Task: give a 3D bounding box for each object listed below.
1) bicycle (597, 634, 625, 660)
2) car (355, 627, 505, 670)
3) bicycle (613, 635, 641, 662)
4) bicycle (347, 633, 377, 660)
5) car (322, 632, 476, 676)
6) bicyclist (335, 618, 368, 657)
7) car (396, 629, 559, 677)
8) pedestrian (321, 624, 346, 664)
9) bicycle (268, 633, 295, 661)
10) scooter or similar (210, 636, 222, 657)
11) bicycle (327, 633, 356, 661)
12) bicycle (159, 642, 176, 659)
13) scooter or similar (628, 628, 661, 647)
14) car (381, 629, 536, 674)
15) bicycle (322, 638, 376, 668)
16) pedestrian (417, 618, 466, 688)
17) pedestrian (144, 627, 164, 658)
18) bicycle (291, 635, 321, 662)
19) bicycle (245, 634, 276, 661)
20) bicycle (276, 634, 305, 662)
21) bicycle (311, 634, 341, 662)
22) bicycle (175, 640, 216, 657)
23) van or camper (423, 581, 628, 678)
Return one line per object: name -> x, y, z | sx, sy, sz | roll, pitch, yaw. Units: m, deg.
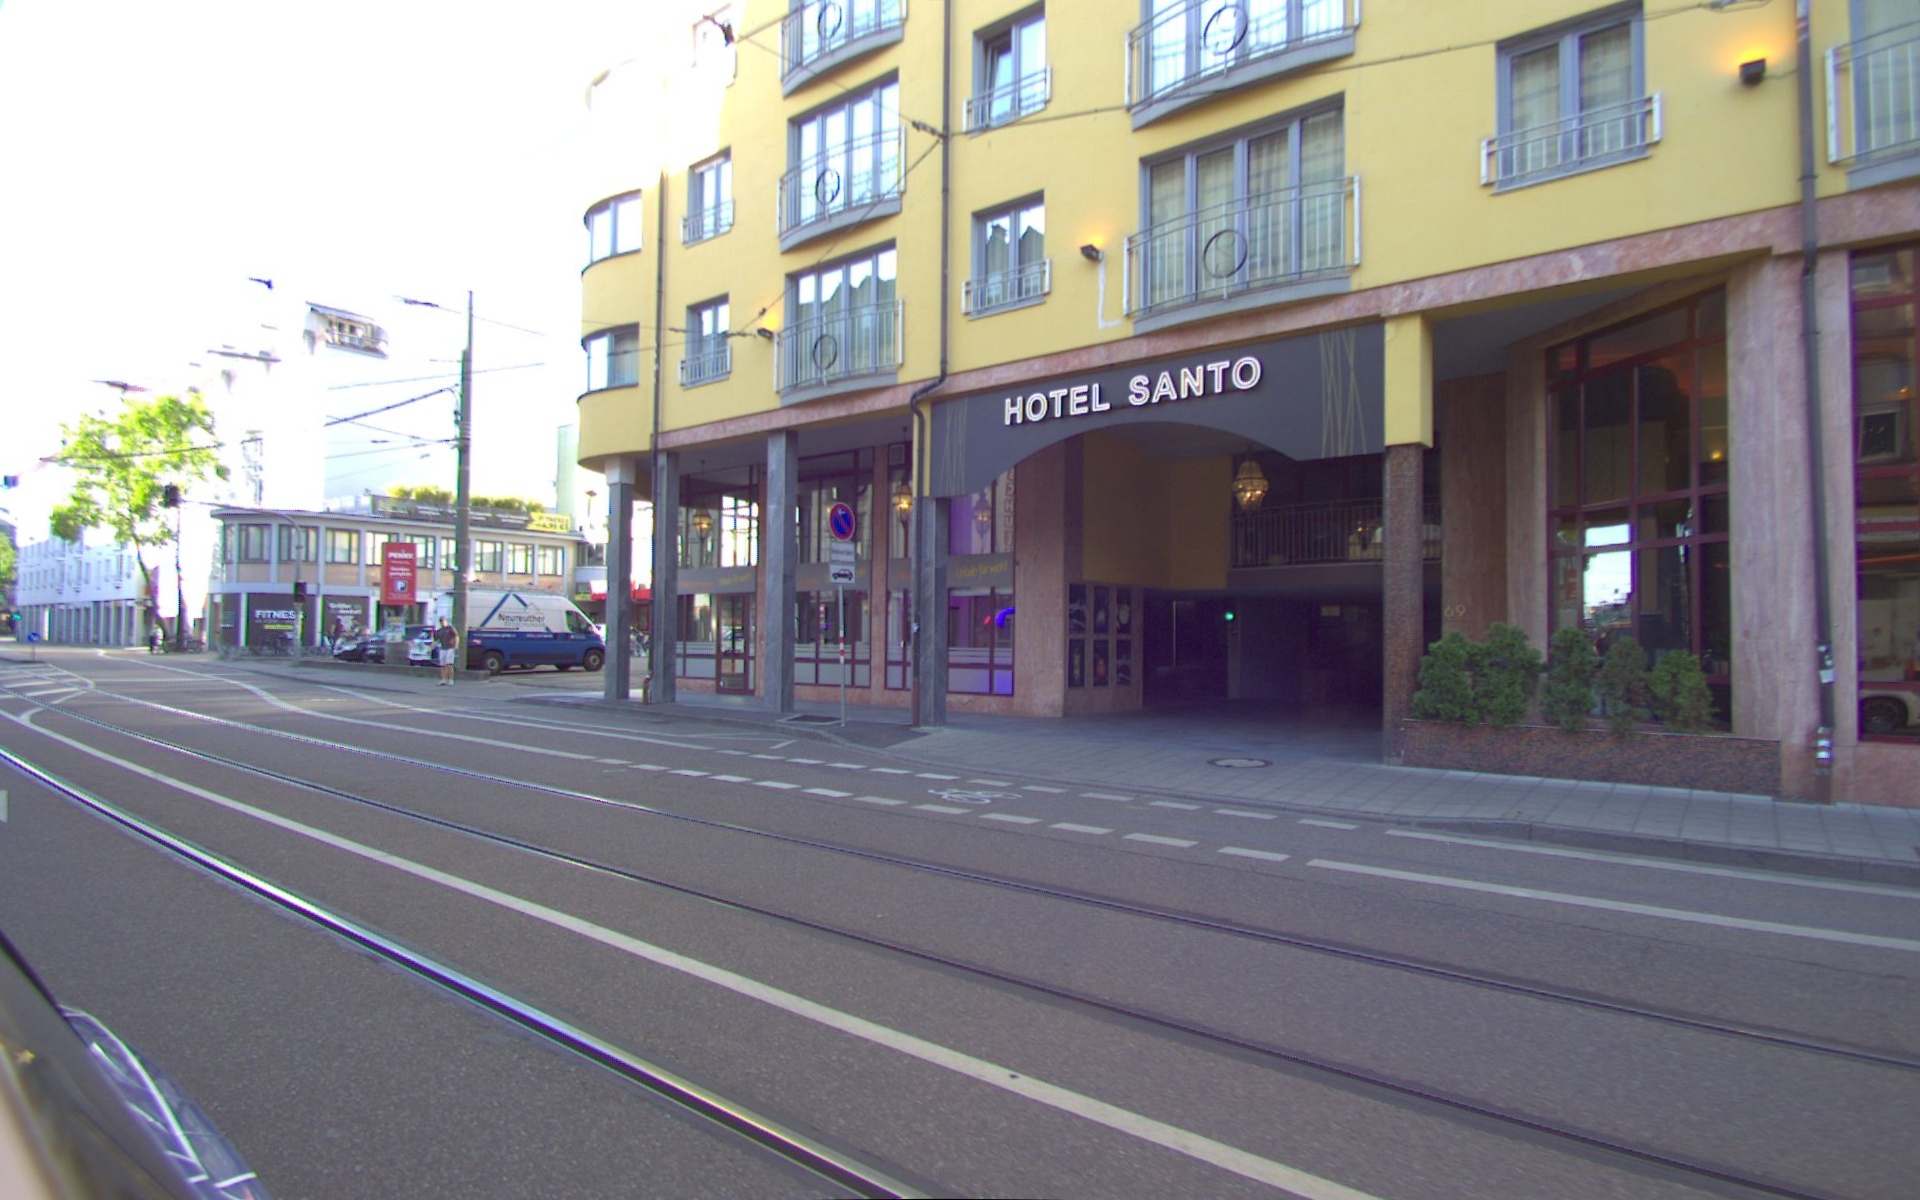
bicycle -> -15.772, 2.125, 45.750 | 0.426, 1.196, 1.833 | 3, -4, -44
car -> -19.550, 1.817, 37.493 | 1.877, 1.487, 4.543 | -2, -4, 39
bicycle -> -15.185, 2.192, 46.090 | 0.426, 1.196, 1.833 | 3, -4, -44
bicycle -> -26.985, 2.118, 45.650 | 1.828, 1.196, 0.444 | -2, -4, 36
car -> -21.605, 2.074, 39.172 | 1.877, 1.595, 4.846 | -2, -4, 39
bicyclist -> -24.993, 1.527, 41.577 | 0.687, 1.561, 0.831 | 1, -3, 22
car -> -16.032, 1.756, 33.823 | 1.877, 1.487, 4.543 | -2, -4, 39
pedestrian -> -27.443, 1.927, 44.320 | 0.682, 1.710, 0.674 | -2, -4, 37
bicycle -> -29.598, 2.043, 44.139 | 1.829, 1.196, 0.436 | -2, -4, 39
scooter or similar -> -41.759, 2.598, 56.792 | 0.330, 1.120, 1.183 | 2, -2, -28
bicycle -> -27.581, 2.092, 45.116 | 1.828, 1.196, 0.444 | -2, -4, 36
bicycle -> -44.345, 2.829, 56.621 | 1.850, 0.919, 0.384 | -1, -2, 40
scooter or similar -> -16.274, 1.947, 52.156 | 0.914, 0.968, 1.348 | -1, -2, 37
car -> -17.699, 1.829, 35.900 | 1.877, 1.487, 4.543 | -2, -4, 39
bicycle -> -25.029, 2.178, 41.508 | 0.678, 1.180, 1.818 | 1, -2, 21
pedestrian -> -13.949, 1.421, 27.245 | 0.908, 1.846, 0.825 | -2, -4, 38
pedestrian -> -45.456, 2.414, 57.092 | 0.621, 1.729, 0.828 | 2, -3, -24
bicycle -> -28.998, 2.155, 44.864 | 1.828, 1.196, 0.439 | -2, -4, 36
bicycle -> -30.671, 2.082, 44.367 | 1.826, 1.196, 0.442 | -2, -3, 33
bicycle -> -29.528, 2.114, 44.639 | 1.828, 1.196, 0.444 | -2, -4, 36
bicycle -> -27.908, 2.118, 44.562 | 1.828, 1.196, 0.444 | -2, -4, 36
bicycle -> -43.226, 2.723, 57.212 | 0.389, 0.919, 1.824 | -6, -5, 44
van or camper -> -13.779, 1.002, 32.440 | 2.313, 2.849, 5.550 | -2, -4, 39
